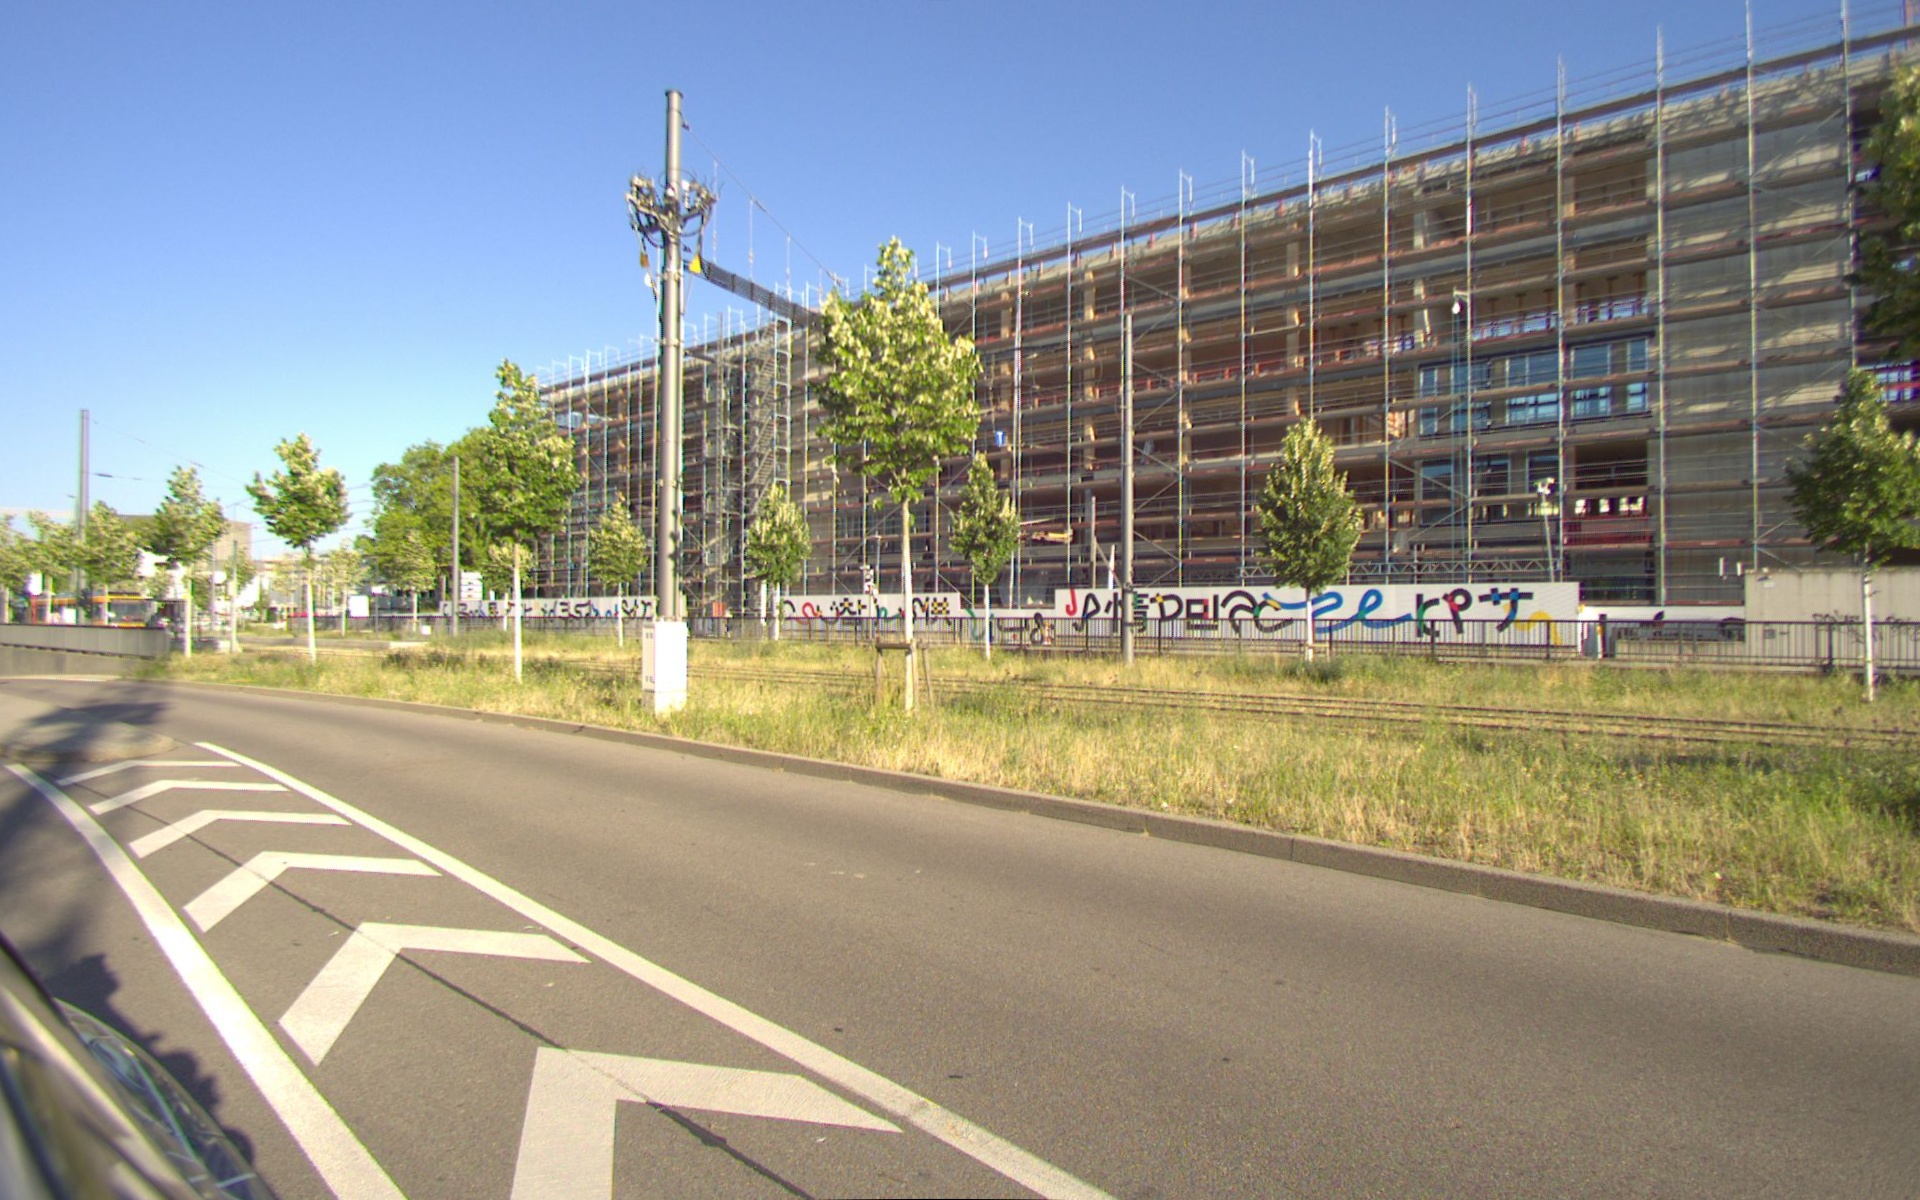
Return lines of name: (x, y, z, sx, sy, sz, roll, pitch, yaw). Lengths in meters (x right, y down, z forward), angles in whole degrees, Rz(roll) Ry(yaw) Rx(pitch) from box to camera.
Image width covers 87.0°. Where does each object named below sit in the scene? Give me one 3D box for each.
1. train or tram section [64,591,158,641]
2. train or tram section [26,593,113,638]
train or tram section: (-62.598, 1.130, 74.455, 12.619, 3.423, 2.917, -1, 0, 39)
train or tram section: (-73.216, 1.280, 83.073, 14.749, 3.423, 2.917, -1, 0, 39)
